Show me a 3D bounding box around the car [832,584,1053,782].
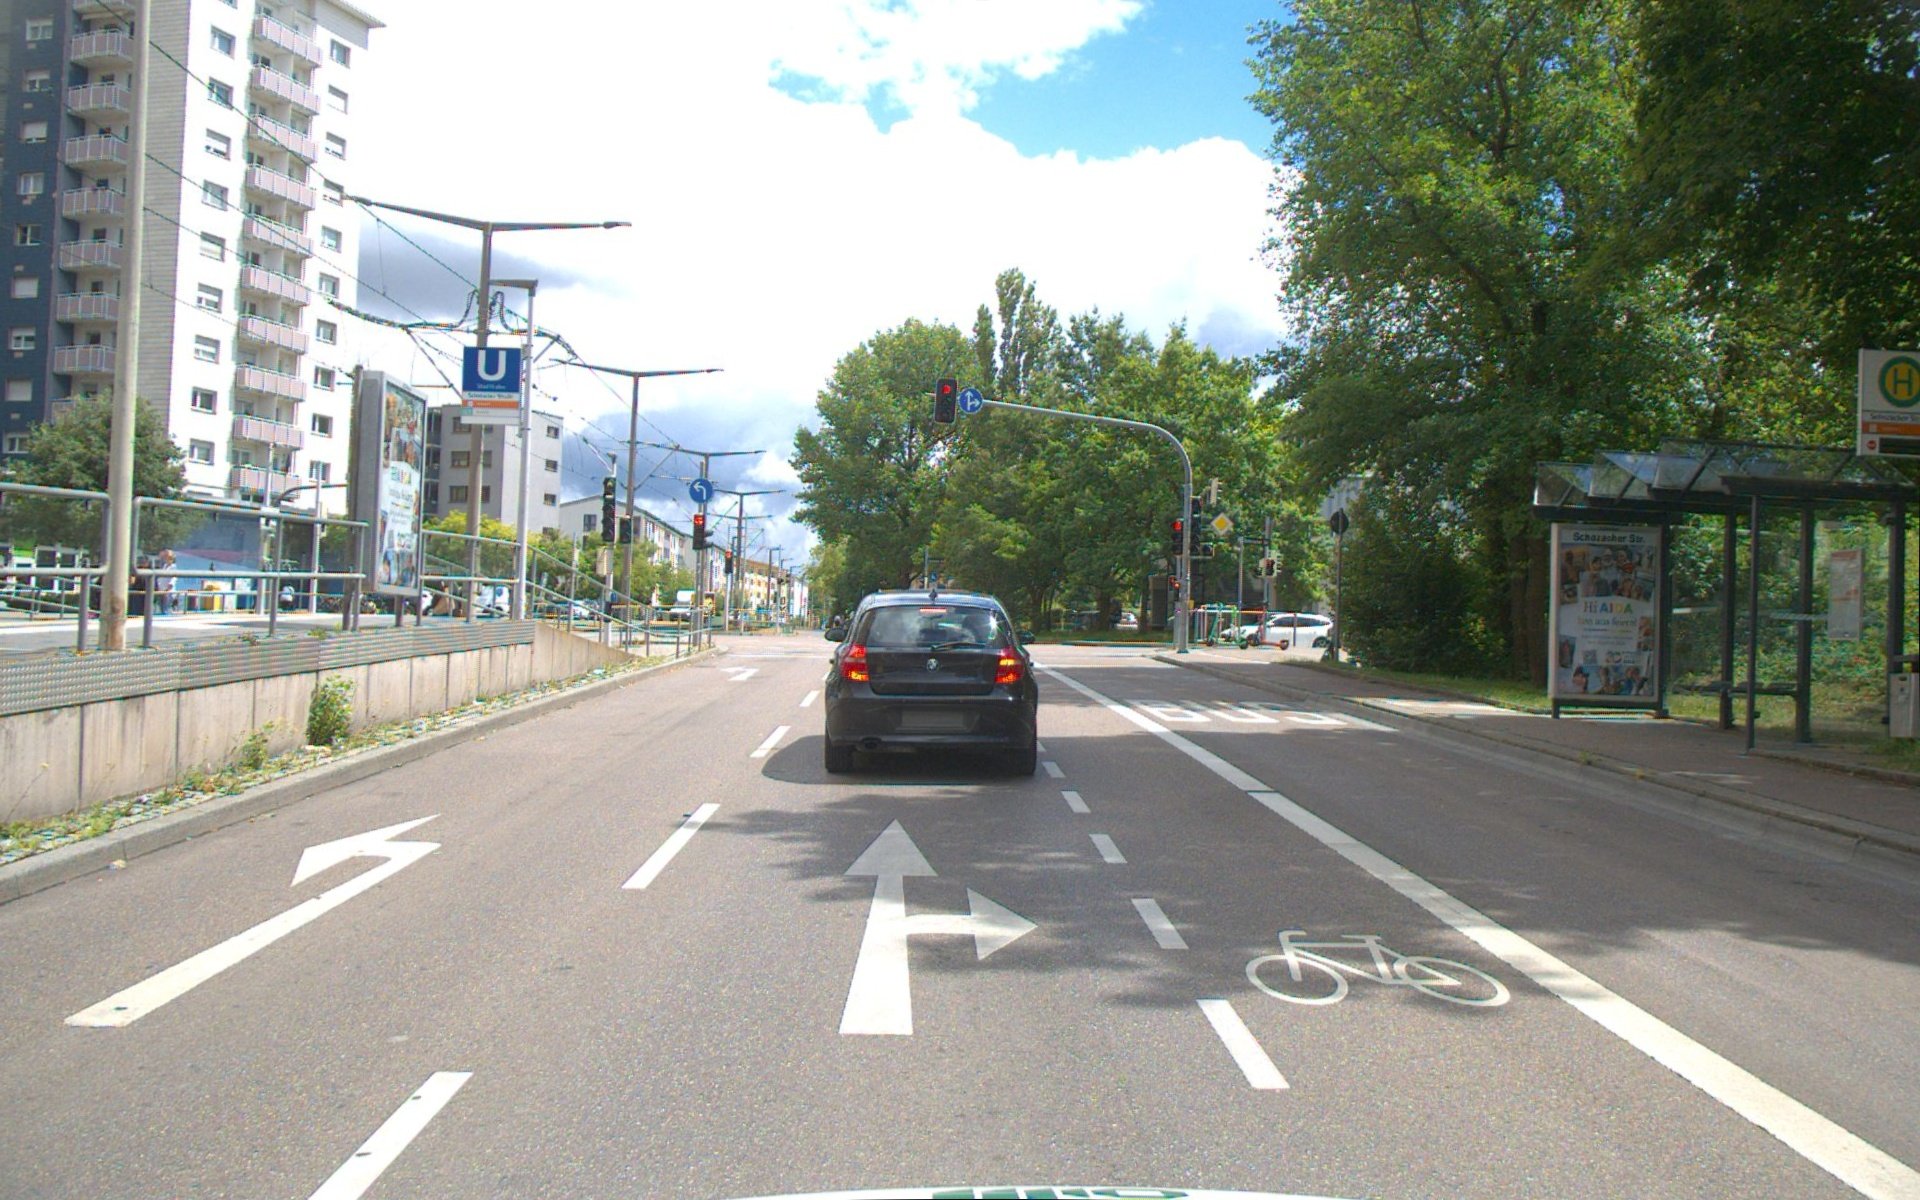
[{"bbox_3d":[-0.112,0.605,14.023,1.620,1.443,3.517,1,0,1],"label":"car"}]

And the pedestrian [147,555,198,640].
[{"bbox_3d":[-16.449,-0.056,34.561,0.666,1.736,0.826,1,0,-3],"label":"pedestrian"}]

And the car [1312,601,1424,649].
[{"bbox_3d":[14.470,0.872,58.717,3.516,1.628,1.706,1,0,-13],"label":"car"}]

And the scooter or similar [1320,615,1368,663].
[{"bbox_3d":[9.043,0.921,38.968,1.133,1.118,0.329,1,0,-25],"label":"scooter or similar"}]

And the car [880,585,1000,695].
[{"bbox_3d":[-0.278,0.521,23.708,1.562,1.443,3.516,1,0,-1],"label":"car"}]

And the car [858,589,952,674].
[{"bbox_3d":[-1.031,0.539,30.566,1.621,1.443,3.515,1,0,-3],"label":"car"}]

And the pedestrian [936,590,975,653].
[{"bbox_3d":[-0.099,0.505,39.663,0.846,1.468,0.799,1,0,5],"label":"pedestrian"}]

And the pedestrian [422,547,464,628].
[{"bbox_3d":[-10.693,-0.267,34.224,0.686,1.661,0.638,0,0,-1],"label":"pedestrian"}]

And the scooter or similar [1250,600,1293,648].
[{"bbox_3d":[8.318,0.647,44.162,1.087,1.280,0.331,1,0,-13],"label":"scooter or similar"}]

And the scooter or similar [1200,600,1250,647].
[{"bbox_3d":[6.933,0.622,43.294,1.267,1.210,0.383,1,0,-17],"label":"scooter or similar"}]

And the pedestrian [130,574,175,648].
[{"bbox_3d":[-15.279,0.203,31.292,0.680,1.366,0.851,1,0,-31],"label":"pedestrian"}]

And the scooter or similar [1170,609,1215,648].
[{"bbox_3d":[5.921,0.726,42.115,1.102,0.974,0.299,1,0,-17],"label":"scooter or similar"}]

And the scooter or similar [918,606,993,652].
[{"bbox_3d":[-0.106,0.688,39.100,1.746,1.069,0.410,1,0,-5],"label":"scooter or similar"}]

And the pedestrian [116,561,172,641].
[{"bbox_3d":[-16.542,0.022,33.558,0.842,1.605,0.622,1,0,-10],"label":"pedestrian"}]

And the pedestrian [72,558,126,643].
[{"bbox_3d":[-16.680,0.003,32.055,0.595,1.611,0.775,1,0,2],"label":"pedestrian"}]

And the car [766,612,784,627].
[{"bbox_3d":[-21.396,2.293,191.406,1.927,1.624,3.997,1,0,-3],"label":"car"}]

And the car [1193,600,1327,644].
[{"bbox_3d":[11.113,0.815,61.372,4.491,1.553,1.939,1,0,-12],"label":"car"}]

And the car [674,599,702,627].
[{"bbox_3d":[-26.960,1.248,164.051,2.096,2.686,5.356,1,0,-3],"label":"car"}]

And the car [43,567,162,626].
[{"bbox_3d":[-30.593,-0.122,59.139,3.663,2.049,1.799,0,0,-25],"label":"car"}]

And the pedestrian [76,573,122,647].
[{"bbox_3d":[-16.265,0.188,31.238,0.656,1.366,0.551,1,0,41],"label":"pedestrian"}]

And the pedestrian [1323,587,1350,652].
[{"bbox_3d":[10.962,0.569,48.128,0.600,1.821,0.569,4,0,17],"label":"pedestrian"}]
